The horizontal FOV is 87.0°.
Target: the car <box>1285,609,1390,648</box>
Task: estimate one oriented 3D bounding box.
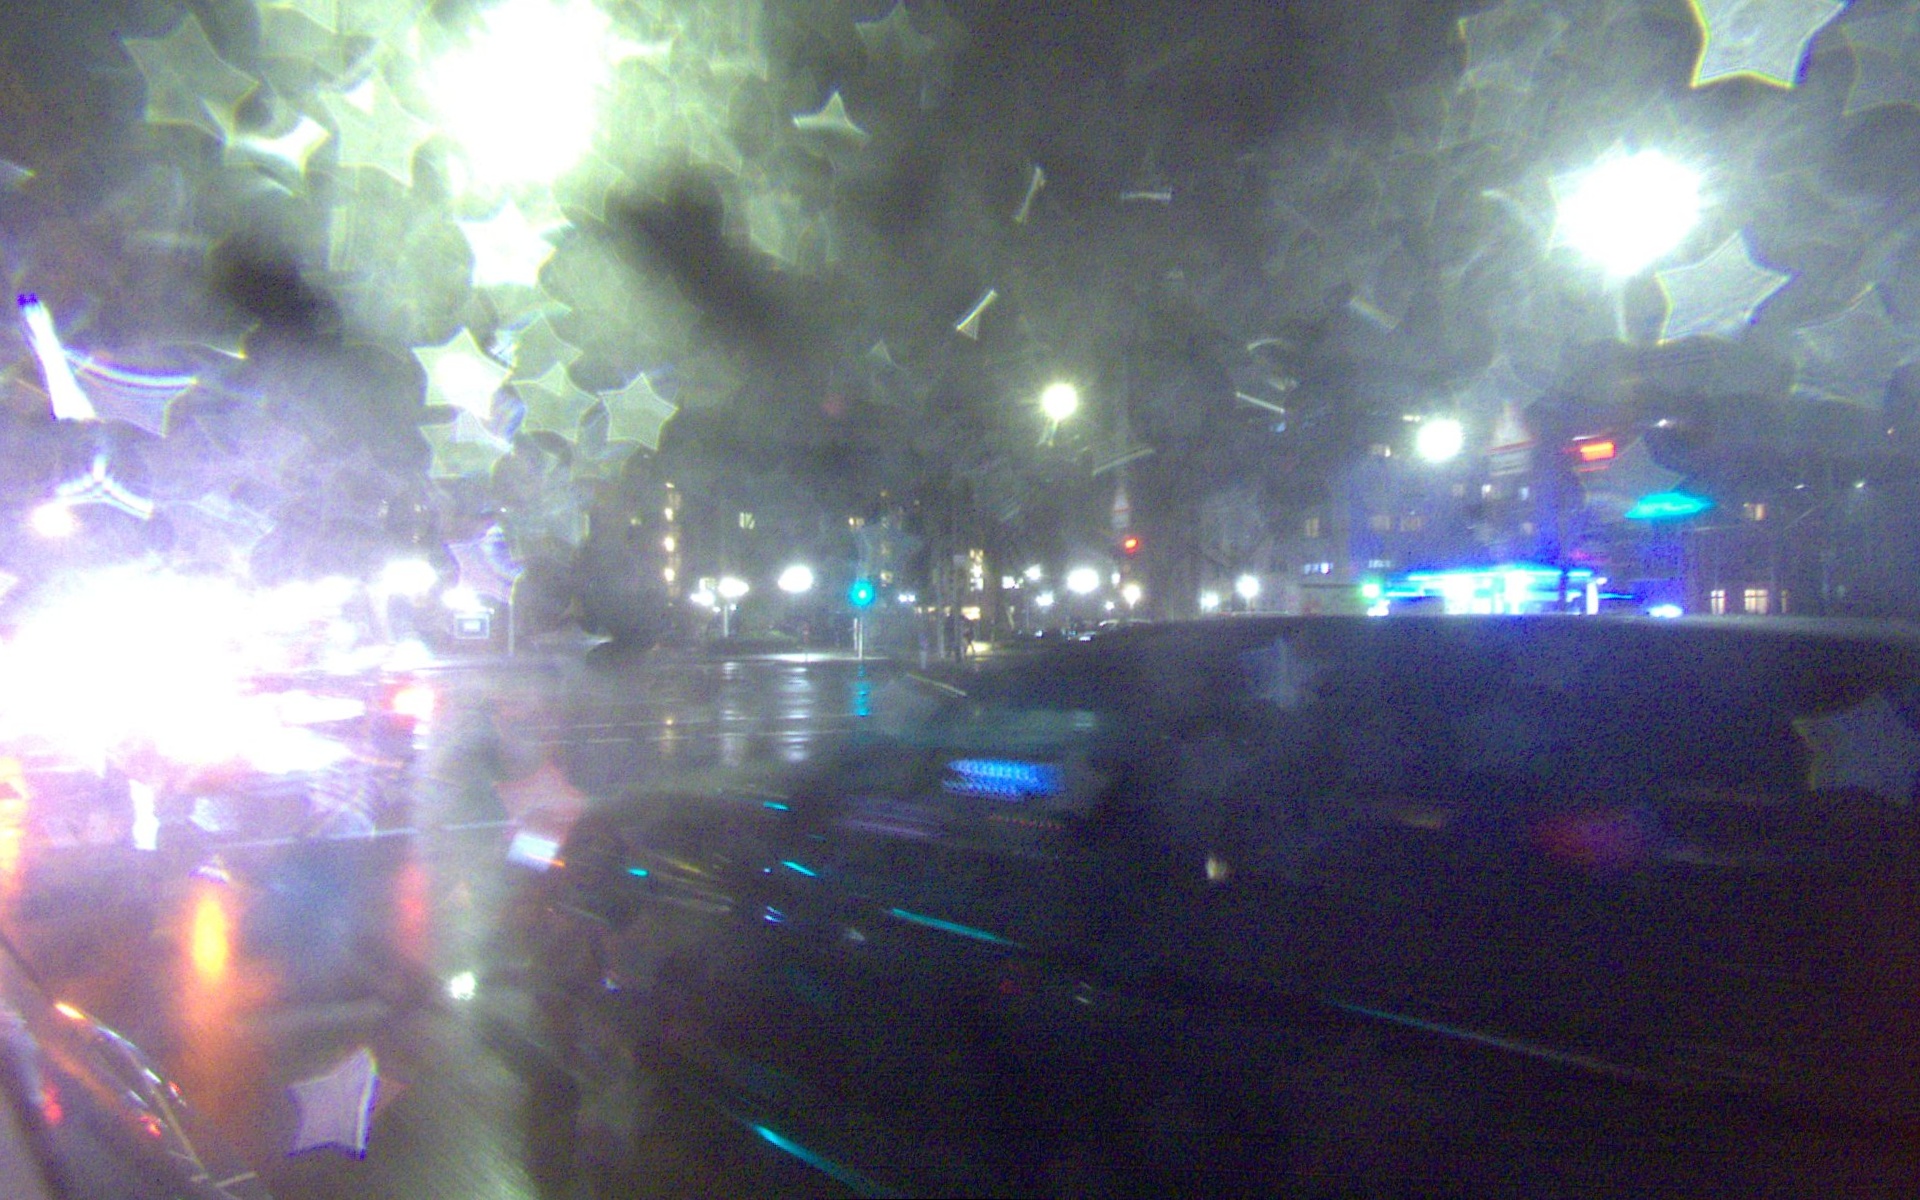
[{"bbox_3d":[18.069,1.354,48.422,4.657,1.756,1.904,0,-2,-25],"label":"car"}]

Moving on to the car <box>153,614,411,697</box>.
[{"bbox_3d":[-13.675,1.101,20.453,4.686,1.554,1.813,-1,-2,17],"label":"car"}]

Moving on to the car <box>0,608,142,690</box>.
[{"bbox_3d":[-23.631,1.321,26.741,5.192,1.968,2.014,-3,-3,38],"label":"car"}]

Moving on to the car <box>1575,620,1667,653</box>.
[{"bbox_3d":[36.704,1.991,56.218,4.657,1.756,1.904,0,-2,-22],"label":"car"}]

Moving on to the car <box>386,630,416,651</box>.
[{"bbox_3d":[-46.592,3.380,84.425,1.838,1.625,4.508,0,-2,-25],"label":"car"}]

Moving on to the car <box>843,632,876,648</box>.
[{"bbox_3d":[-9.776,3.854,98.204,1.838,1.454,4.508,0,-2,-25],"label":"car"}]

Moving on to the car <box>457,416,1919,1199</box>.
[{"bbox_3d":[0.662,0.636,2.510,4.853,1.566,1.769,-2,-2,42],"label":"car"}]

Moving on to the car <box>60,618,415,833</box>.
[{"bbox_3d":[-6.378,0.897,8.751,4.096,1.431,1.651,-2,-2,42],"label":"car"}]

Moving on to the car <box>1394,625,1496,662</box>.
[{"bbox_3d":[24.413,2.176,50.934,4.657,1.756,1.904,0,-2,-22],"label":"car"}]

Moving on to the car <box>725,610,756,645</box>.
[{"bbox_3d":[-18.258,2.302,84.078,1.689,2.752,4.369,0,-2,-24],"label":"car"}]

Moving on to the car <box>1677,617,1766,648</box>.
[{"bbox_3d":[44.318,1.882,58.888,4.657,1.756,1.904,0,-2,-22],"label":"car"}]

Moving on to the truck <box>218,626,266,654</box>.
[{"bbox_3d":[-56.222,3.147,79.344,2.093,2.029,5.279,0,-2,-25],"label":"truck"}]

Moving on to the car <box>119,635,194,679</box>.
[{"bbox_3d":[-29.349,2.029,36.943,1.742,1.498,4.063,1,-2,-44],"label":"car"}]

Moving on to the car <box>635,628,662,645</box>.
[{"bbox_3d":[-28.302,3.323,91.876,1.838,1.454,4.508,0,-2,-25],"label":"car"}]

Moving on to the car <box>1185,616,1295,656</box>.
[{"bbox_3d":[12.750,1.622,46.024,4.657,1.756,1.904,0,-2,-25],"label":"car"}]

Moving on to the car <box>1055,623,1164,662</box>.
[{"bbox_3d":[6.435,1.806,43.619,4.258,1.581,1.904,0,-2,-25],"label":"car"}]

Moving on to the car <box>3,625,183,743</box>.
[{"bbox_3d":[-13.435,1.199,15.607,4.007,1.574,1.650,-2,-2,43],"label":"car"}]

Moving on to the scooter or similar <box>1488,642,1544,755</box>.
[{"bbox_3d":[6.582,1.136,12.010,0.283,1.249,1.074,-1,-2,14],"label":"scooter or similar"}]

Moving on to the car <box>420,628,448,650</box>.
[{"bbox_3d":[-44.123,3.267,84.891,1.838,1.774,4.508,0,-2,-25],"label":"car"}]

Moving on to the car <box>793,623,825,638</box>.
[{"bbox_3d":[-14.501,2.927,96.921,1.838,1.454,4.508,0,-2,-25],"label":"car"}]

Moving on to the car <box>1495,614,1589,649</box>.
[{"bbox_3d":[30.563,1.638,53.134,4.657,1.756,1.904,0,-2,-25],"label":"car"}]

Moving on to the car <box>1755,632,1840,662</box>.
[{"bbox_3d":[51.003,2.836,61.646,4.657,1.756,1.904,0,-2,-22],"label":"car"}]
